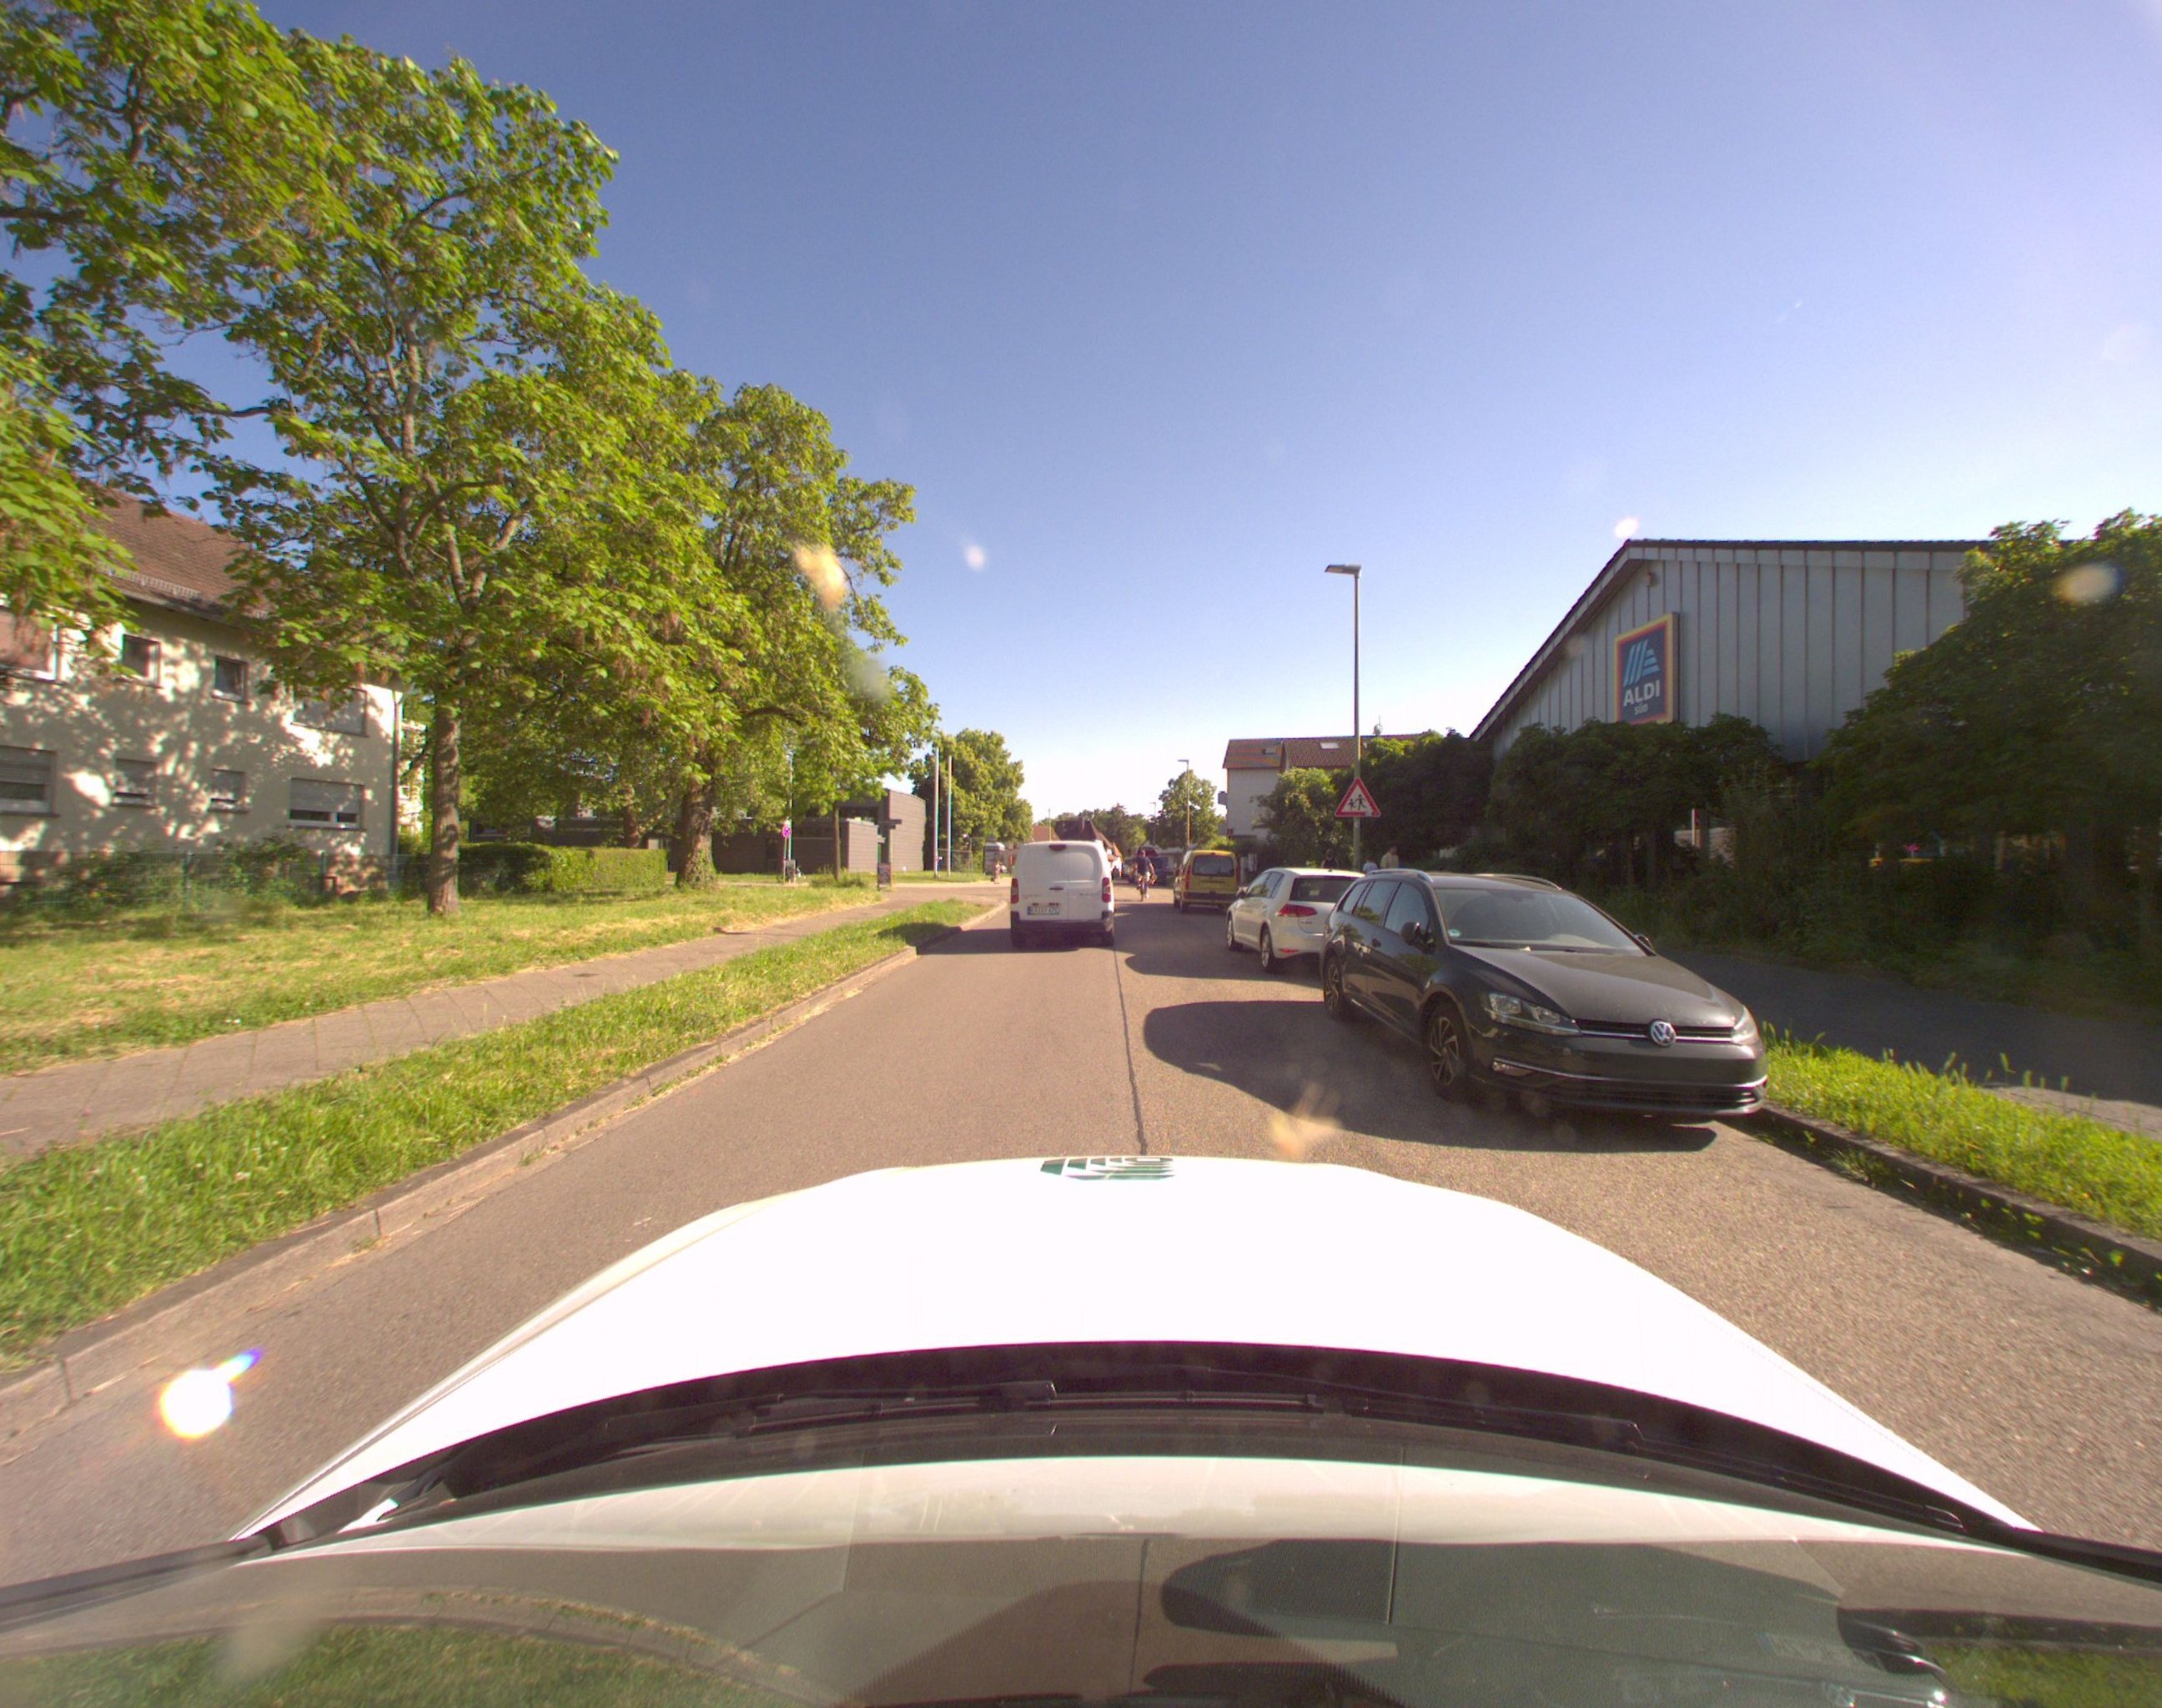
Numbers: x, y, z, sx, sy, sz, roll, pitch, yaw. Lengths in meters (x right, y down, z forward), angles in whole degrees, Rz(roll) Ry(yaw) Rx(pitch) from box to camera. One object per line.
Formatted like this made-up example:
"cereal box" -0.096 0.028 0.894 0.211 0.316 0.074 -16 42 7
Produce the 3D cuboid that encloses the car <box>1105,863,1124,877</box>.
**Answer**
"car" 4.695 2.225 112.327 1.791 1.842 4.014 2 -1 14

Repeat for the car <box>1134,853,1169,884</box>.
"car" 4.347 0.918 50.907 1.798 1.785 3.999 3 -1 0

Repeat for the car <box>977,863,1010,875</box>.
"car" -11.446 1.973 106.970 3.945 1.429 1.724 1 -1 19

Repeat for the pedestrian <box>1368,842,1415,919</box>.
"pedestrian" 7.700 0.647 20.217 0.793 1.861 0.872 1 -1 -6

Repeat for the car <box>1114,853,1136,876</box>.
"car" 4.158 1.018 77.105 1.798 2.069 3.999 2 -1 0

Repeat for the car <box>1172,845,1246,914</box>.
"car" 3.721 0.714 24.248 1.717 1.837 4.002 1 -1 2

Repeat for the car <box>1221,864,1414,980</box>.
"car" 3.392 0.904 12.488 1.820 1.452 3.999 1 -1 0

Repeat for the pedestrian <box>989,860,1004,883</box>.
"pedestrian" -5.307 1.099 51.140 0.505 1.446 0.643 3 -1 34

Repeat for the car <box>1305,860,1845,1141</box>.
"car" 3.235 0.794 6.531 1.800 1.443 4.365 1 0 2

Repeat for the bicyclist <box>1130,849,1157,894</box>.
"bicyclist" 2.219 0.619 28.880 0.902 1.584 0.967 1 -1 2

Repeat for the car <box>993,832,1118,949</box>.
"car" -0.325 0.597 15.437 1.985 1.882 4.292 1 0 3

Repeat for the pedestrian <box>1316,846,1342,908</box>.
"pedestrian" 6.604 0.606 21.717 0.564 1.637 0.547 0 0 6

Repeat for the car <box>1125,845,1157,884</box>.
"car" 4.222 0.755 58.081 1.860 2.562 4.766 2 -1 0

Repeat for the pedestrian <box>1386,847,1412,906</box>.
"pedestrian" 8.949 0.625 22.912 0.564 1.637 0.547 0 0 6

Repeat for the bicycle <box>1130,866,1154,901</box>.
"bicycle" 2.164 1.027 28.851 0.783 1.138 2.282 1 0 5

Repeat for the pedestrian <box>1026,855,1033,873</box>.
"pedestrian" -5.221 0.981 82.261 0.619 1.805 0.640 0 -2 0

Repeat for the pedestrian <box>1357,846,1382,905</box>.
"pedestrian" 8.155 0.592 23.034 0.564 1.637 0.547 0 0 6
